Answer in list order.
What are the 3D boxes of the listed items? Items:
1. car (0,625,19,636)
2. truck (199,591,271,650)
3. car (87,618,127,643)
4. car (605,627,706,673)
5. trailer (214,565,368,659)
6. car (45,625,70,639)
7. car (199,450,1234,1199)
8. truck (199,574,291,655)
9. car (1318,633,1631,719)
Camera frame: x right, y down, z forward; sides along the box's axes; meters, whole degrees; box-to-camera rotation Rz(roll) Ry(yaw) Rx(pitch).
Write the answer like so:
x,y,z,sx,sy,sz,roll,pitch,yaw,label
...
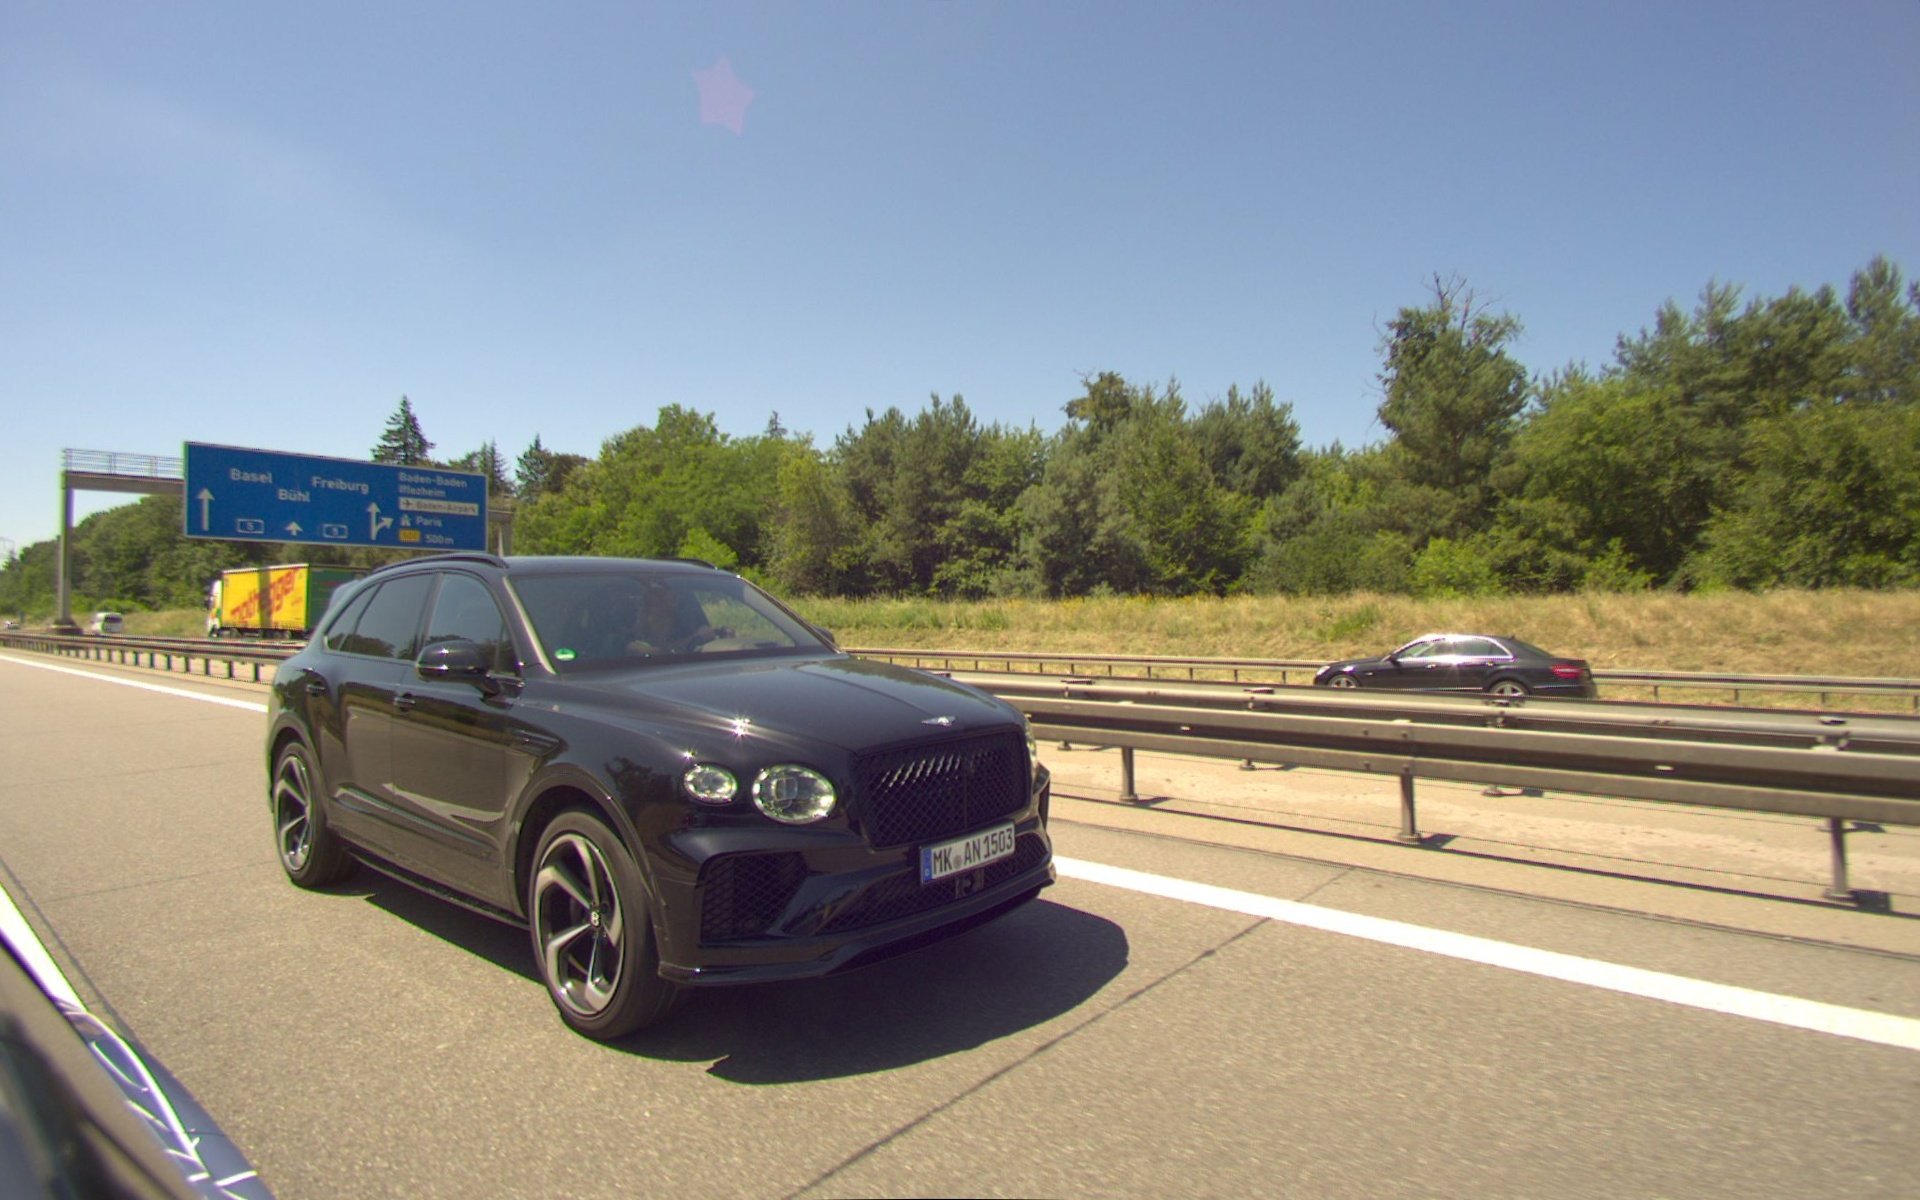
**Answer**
x,y,z,sx,sy,sz,roll,pitch,yaw,label
-141.870,4.582,150.733,4.900,1.528,1.776,-1,-4,40,car
-51.503,1.481,71.843,6.479,3.979,2.598,-1,-4,41,truck
-86.266,3.093,102.320,5.805,2.358,1.967,-1,-4,40,car
-11.025,1.786,36.491,4.108,1.552,1.508,-1,-4,41,car
-33.385,0.717,50.092,14.271,4.104,2.438,-1,-4,41,trailer
-112.291,3.982,125.896,4.609,1.603,1.629,-1,-4,41,car
-1.795,0.593,5.002,5.809,1.765,1.921,-2,-1,40,car
-38.758,0.854,54.784,6.283,4.104,2.438,-1,-4,41,truck
9.289,1.323,18.572,4.887,1.376,1.658,-1,-4,41,car
